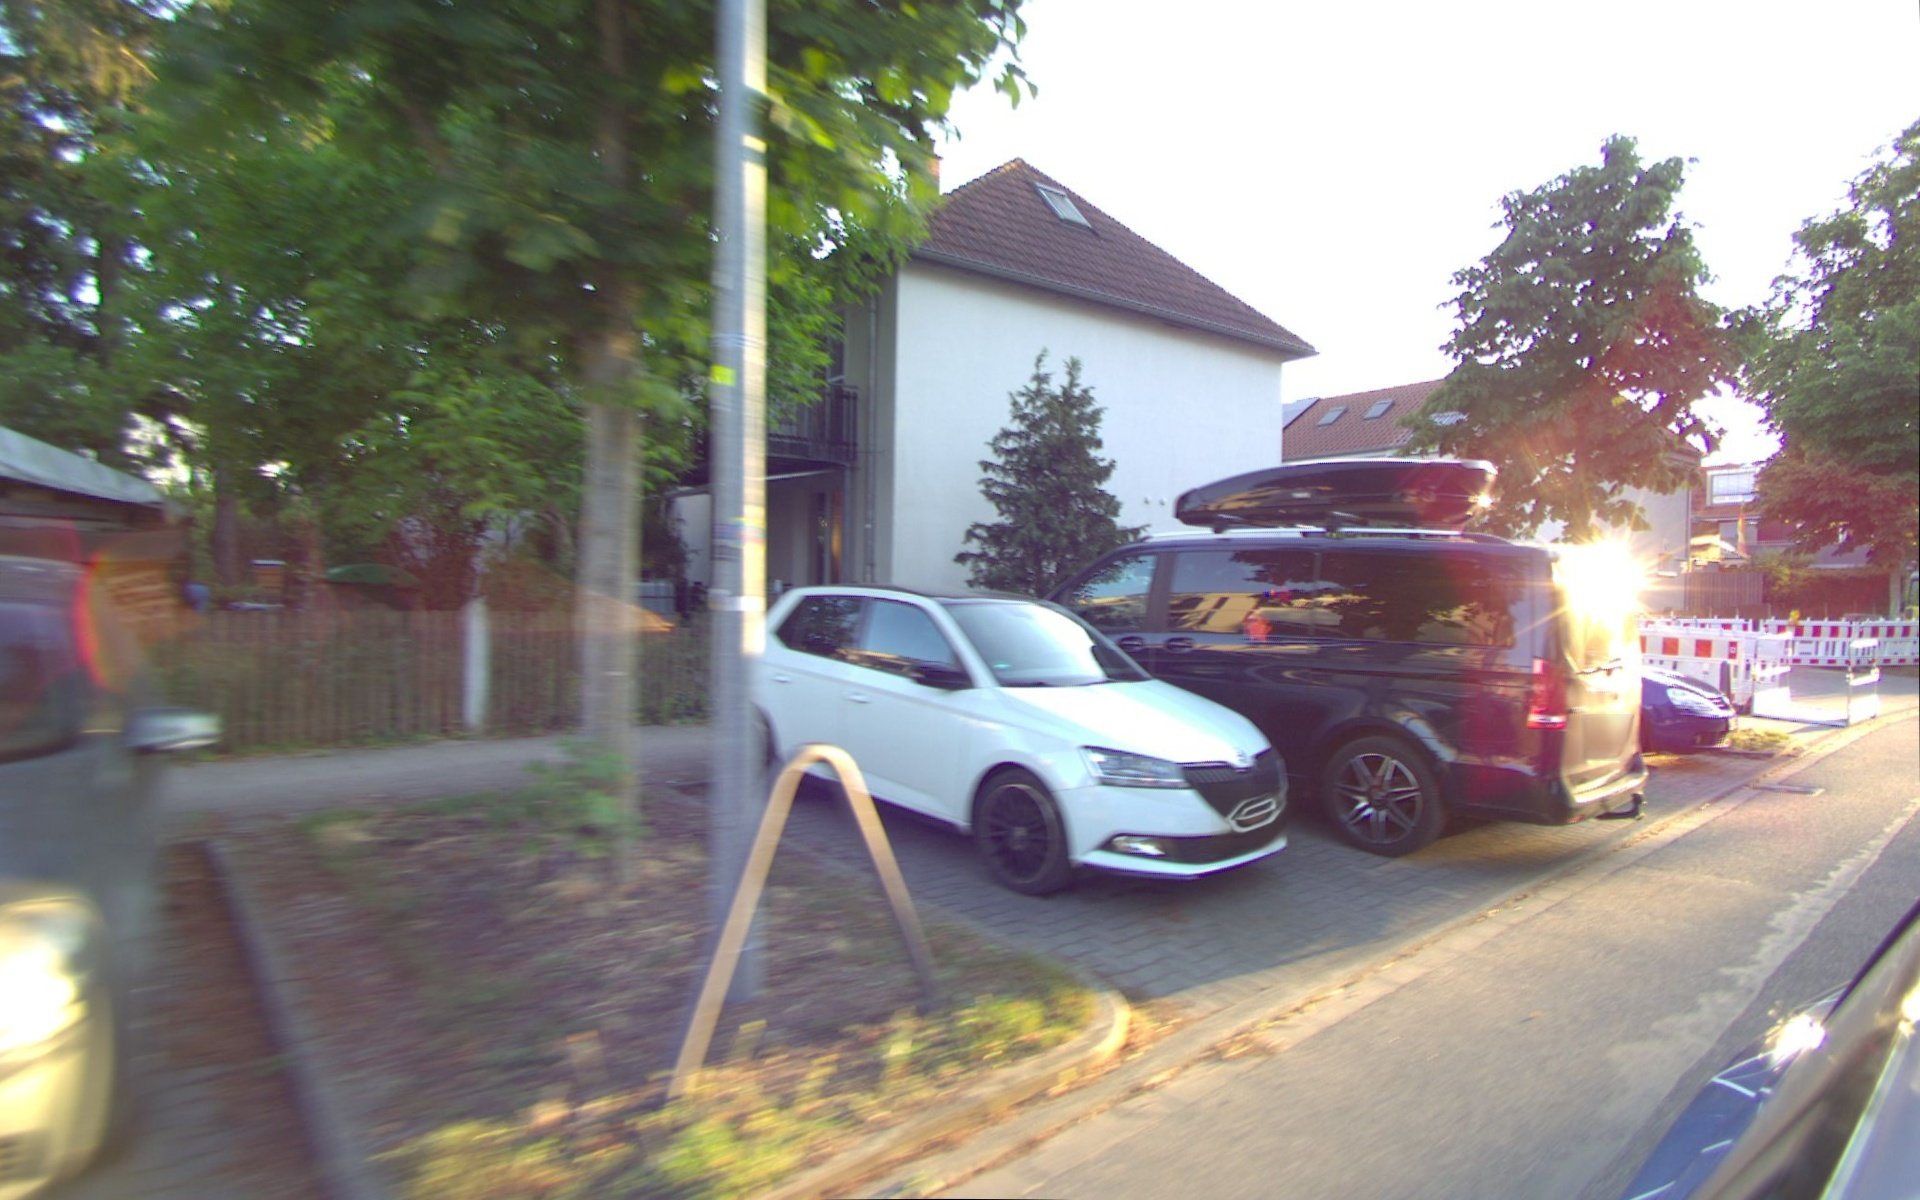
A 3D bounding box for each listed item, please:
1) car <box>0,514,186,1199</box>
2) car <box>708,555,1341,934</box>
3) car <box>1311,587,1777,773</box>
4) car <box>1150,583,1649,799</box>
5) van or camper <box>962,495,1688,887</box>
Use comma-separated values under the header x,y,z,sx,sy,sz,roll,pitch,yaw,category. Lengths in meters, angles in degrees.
x,y,z,sx,sy,sz,roll,pitch,yaw,category
-3.441,0.514,3.038,1.737,1.520,4.067,1,1,-37,car
0.109,0.561,6.161,1.601,1.563,3.838,1,1,-41,car
6.073,0.679,10.900,1.761,1.580,3.995,0,1,-40,car
3.941,0.652,9.617,1.761,1.580,3.995,0,1,-40,car
2.358,0.418,7.512,2.059,1.978,4.652,0,1,-43,van or camper
